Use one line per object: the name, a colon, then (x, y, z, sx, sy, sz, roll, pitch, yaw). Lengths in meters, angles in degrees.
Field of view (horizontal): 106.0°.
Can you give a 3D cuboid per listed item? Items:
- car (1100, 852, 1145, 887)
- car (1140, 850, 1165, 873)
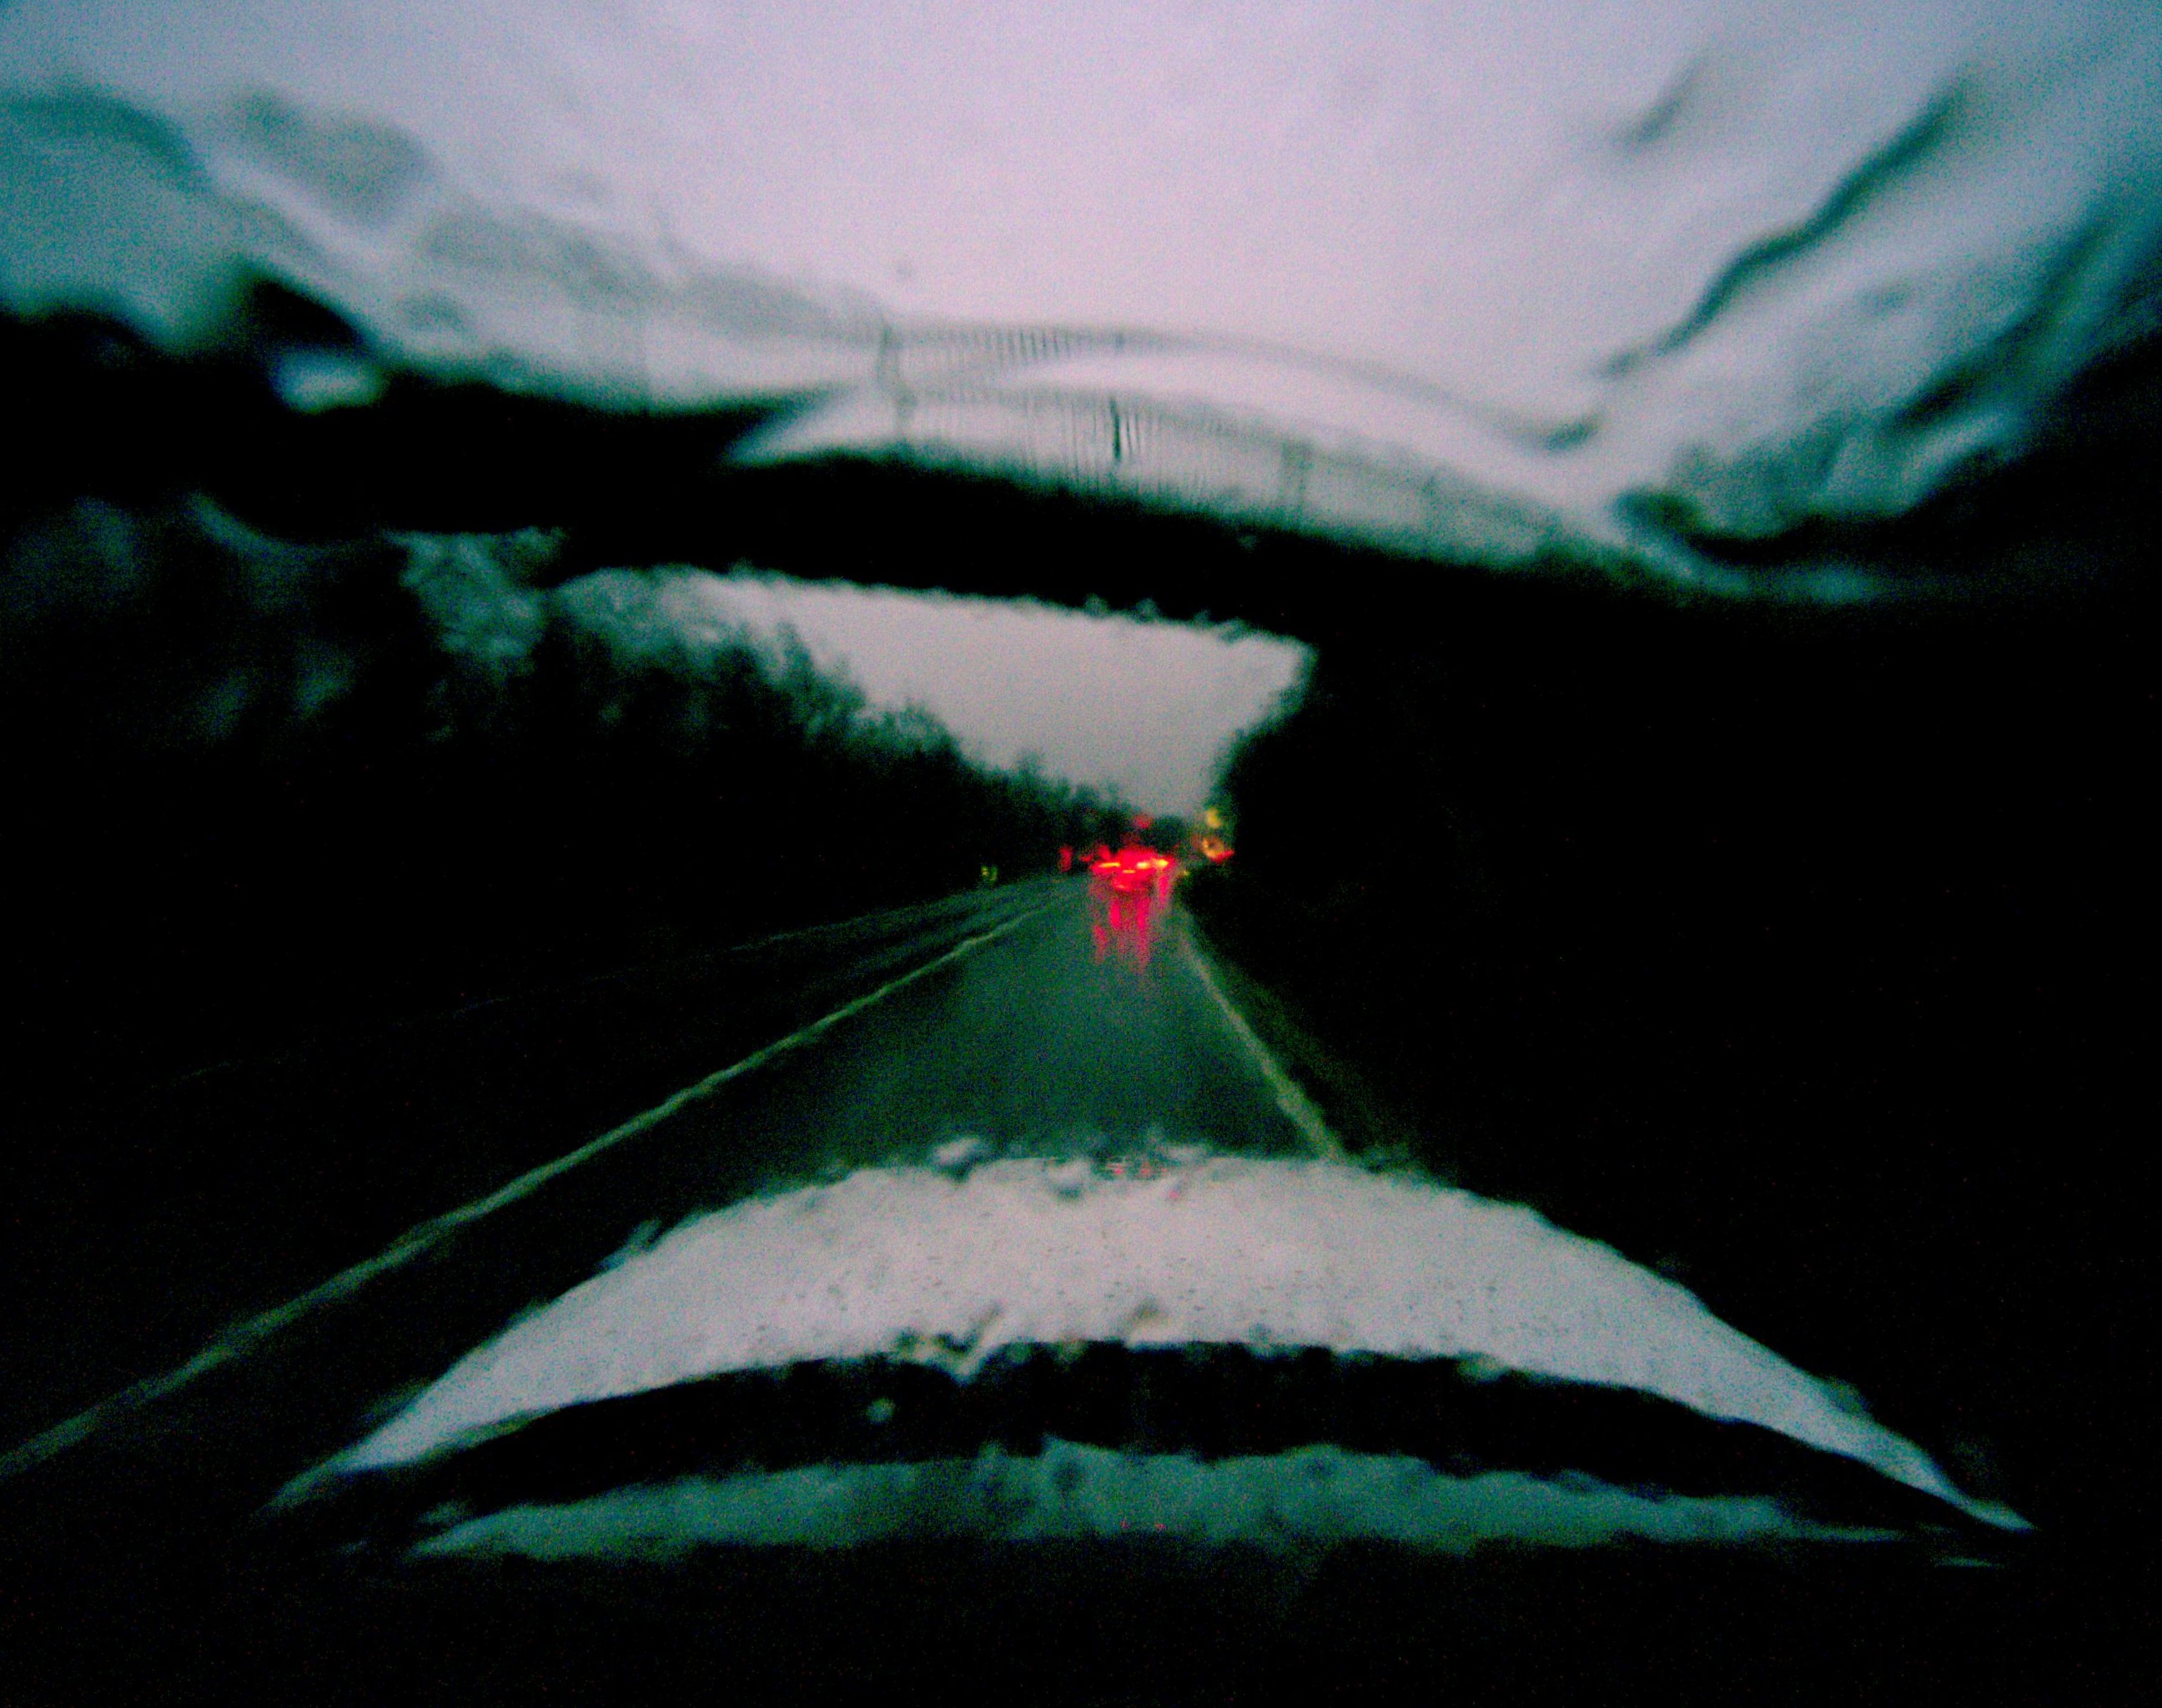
car: (1.854, 0.633, 34.924, 1.670, 1.389, 4.105, -1, 0, 6)
car: (5.323, 0.543, 60.332, 1.670, 1.675, 4.106, -1, 0, 7)
